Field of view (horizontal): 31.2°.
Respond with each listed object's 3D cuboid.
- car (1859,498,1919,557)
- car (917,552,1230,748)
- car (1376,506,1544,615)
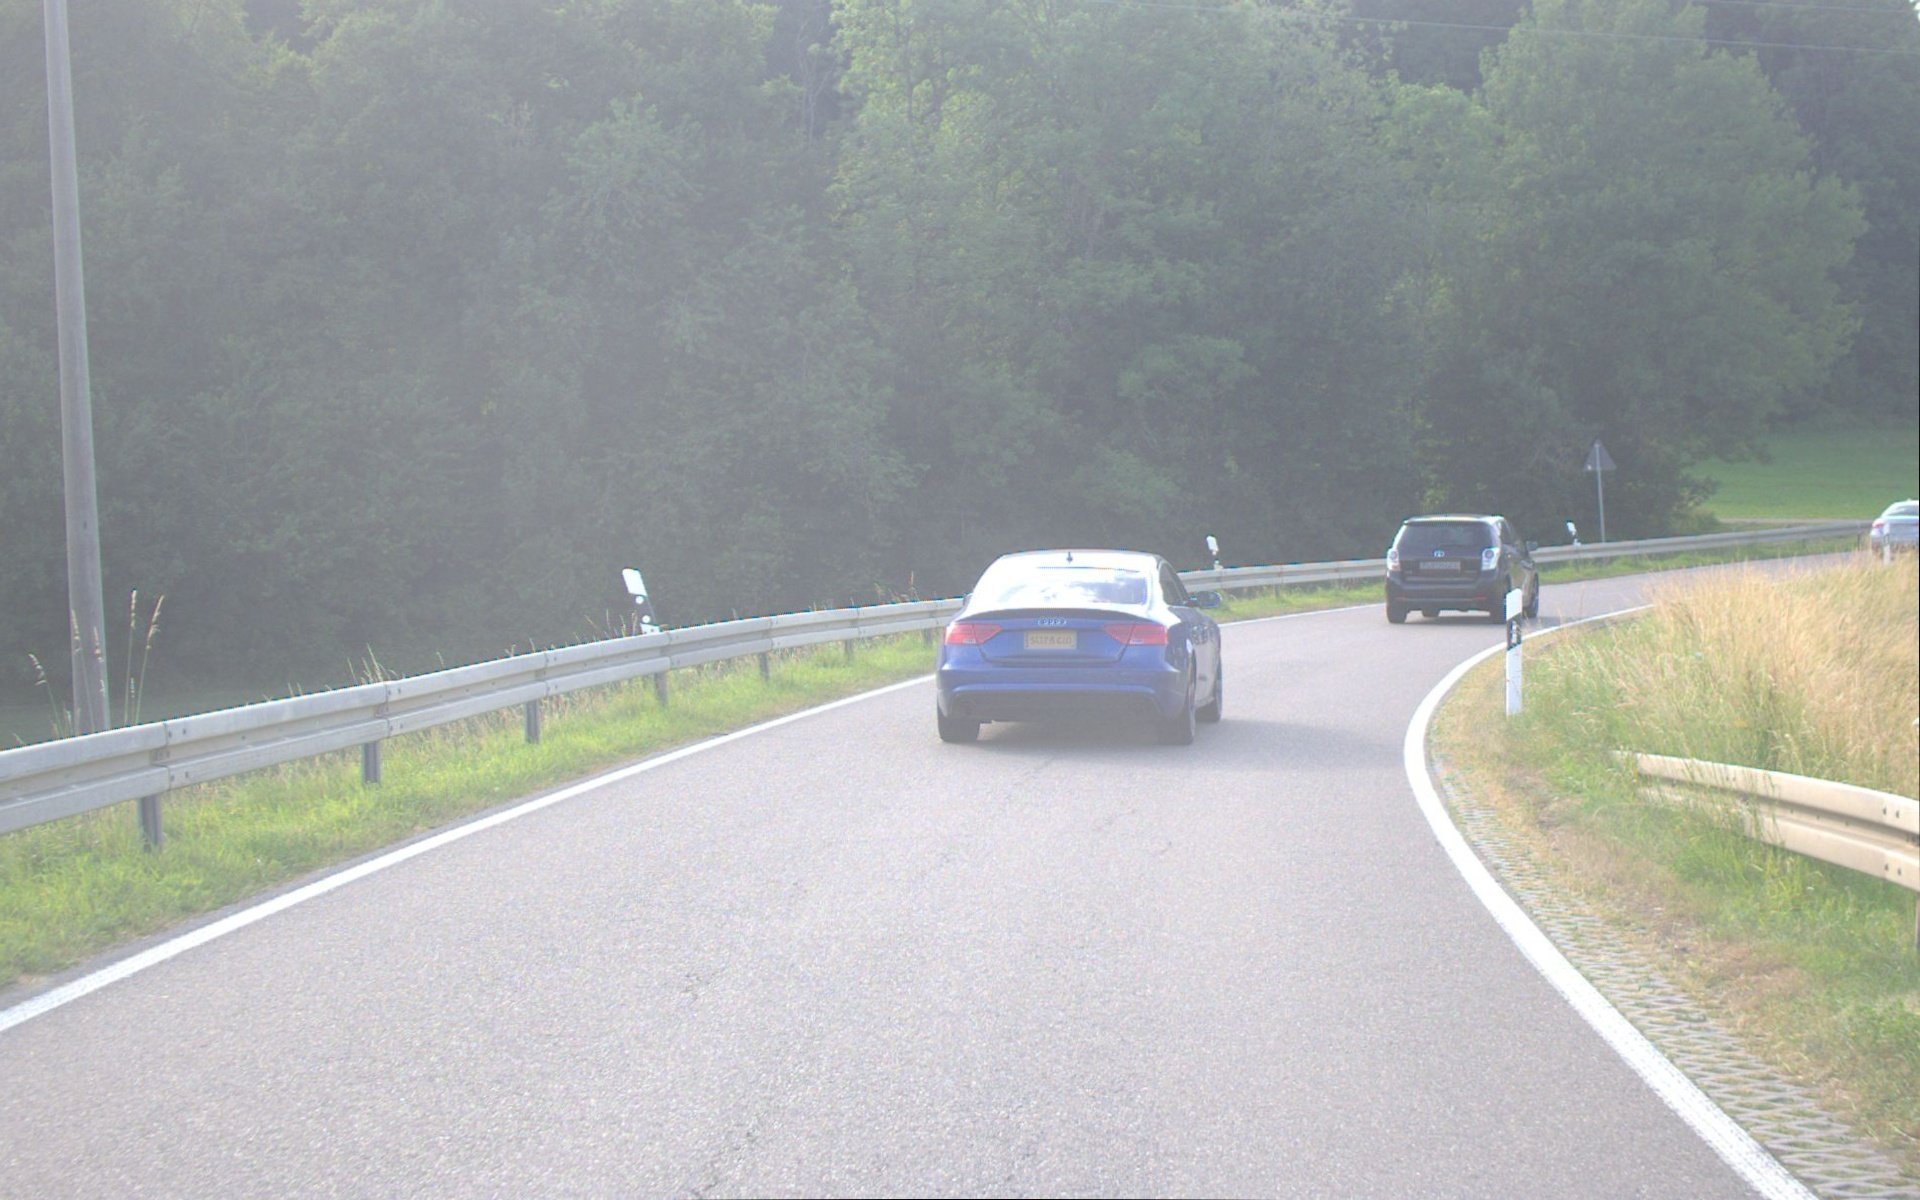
[{"bbox_3d":[23.773,-1.826,84.827,1.686,1.371,3.992,-2,1,37],"label":"car"},{"bbox_3d":[0.938,0.314,25.621,1.819,1.334,4.348,0,1,9],"label":"car"},{"bbox_3d":[7.592,-0.618,51.923,1.863,1.563,3.997,0,1,18],"label":"car"}]
